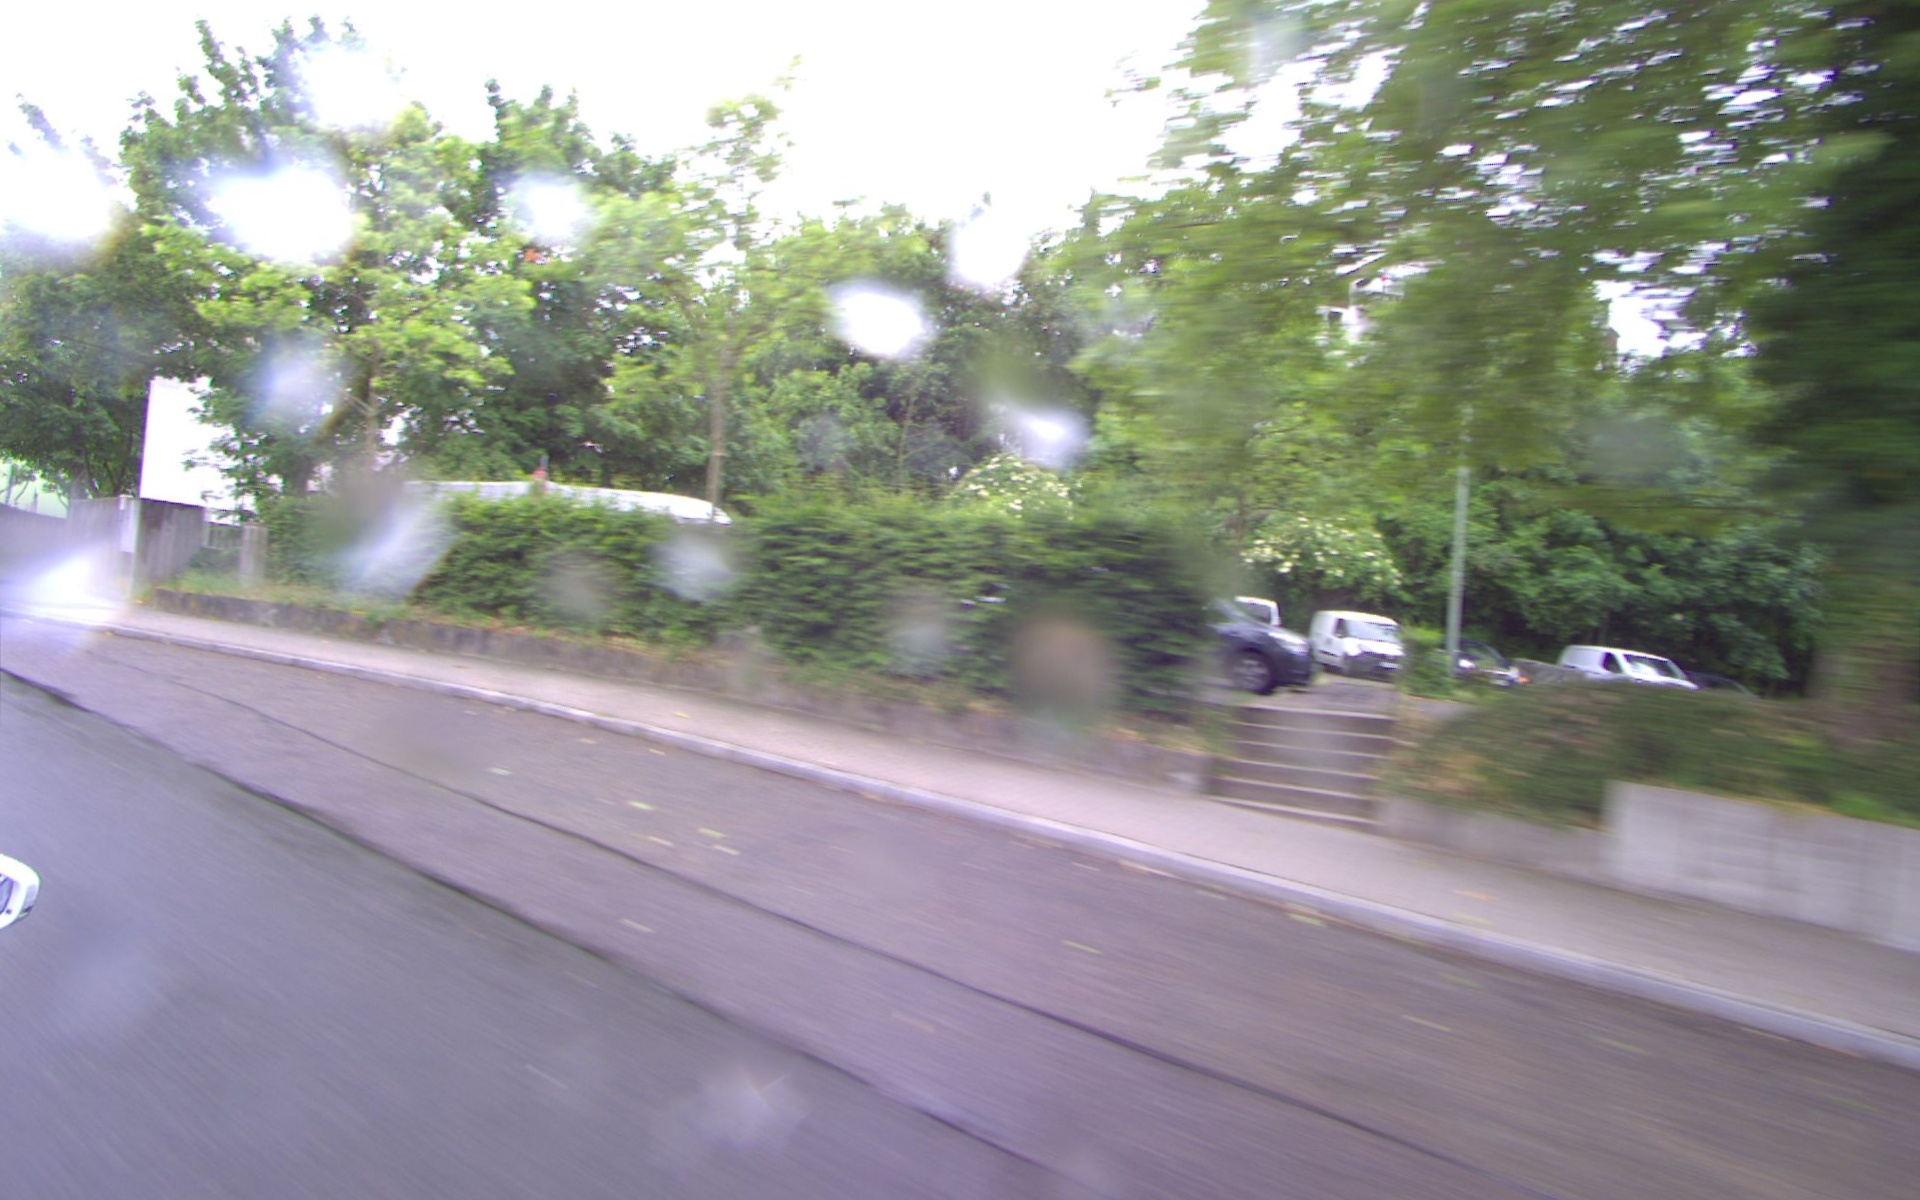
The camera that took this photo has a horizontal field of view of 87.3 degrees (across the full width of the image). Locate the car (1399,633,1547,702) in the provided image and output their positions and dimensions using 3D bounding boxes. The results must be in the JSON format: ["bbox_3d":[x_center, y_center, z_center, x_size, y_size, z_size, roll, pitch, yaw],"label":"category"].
[{"bbox_3d":[14.245,1.827,28.241,1.771,1.493,4.182,10,-2,-1],"label":"car"}]

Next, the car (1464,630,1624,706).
[{"bbox_3d":[16.273,1.855,28.313,1.771,1.683,4.182,10,-2,-1],"label":"car"}]

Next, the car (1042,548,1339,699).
[{"bbox_3d":[3.624,0.367,15.866,4.097,1.600,1.827,9,-2,26],"label":"car"}]

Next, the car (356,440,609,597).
[{"bbox_3d":[-9.072,-1.549,19.103,4.060,2.253,2.000,9,0,26],"label":"car"}]

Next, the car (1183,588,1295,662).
[{"bbox_3d":[7.971,0.748,29.171,1.771,1.683,4.182,10,-2,-1],"label":"car"}]

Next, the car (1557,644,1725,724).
[{"bbox_3d":[19.010,2.296,28.359,1.771,1.789,4.184,10,-2,3],"label":"car"}]

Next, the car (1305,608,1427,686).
[{"bbox_3d":[11.544,1.359,28.920,1.770,1.789,4.184,10,-2,3],"label":"car"}]

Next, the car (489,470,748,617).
[{"bbox_3d":[-7.375,-1.226,21.723,4.926,2.310,2.052,9,-1,23],"label":"car"}]

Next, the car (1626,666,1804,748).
[{"bbox_3d":[21.276,2.956,28.583,1.771,1.789,4.184,10,-2,3],"label":"car"}]
